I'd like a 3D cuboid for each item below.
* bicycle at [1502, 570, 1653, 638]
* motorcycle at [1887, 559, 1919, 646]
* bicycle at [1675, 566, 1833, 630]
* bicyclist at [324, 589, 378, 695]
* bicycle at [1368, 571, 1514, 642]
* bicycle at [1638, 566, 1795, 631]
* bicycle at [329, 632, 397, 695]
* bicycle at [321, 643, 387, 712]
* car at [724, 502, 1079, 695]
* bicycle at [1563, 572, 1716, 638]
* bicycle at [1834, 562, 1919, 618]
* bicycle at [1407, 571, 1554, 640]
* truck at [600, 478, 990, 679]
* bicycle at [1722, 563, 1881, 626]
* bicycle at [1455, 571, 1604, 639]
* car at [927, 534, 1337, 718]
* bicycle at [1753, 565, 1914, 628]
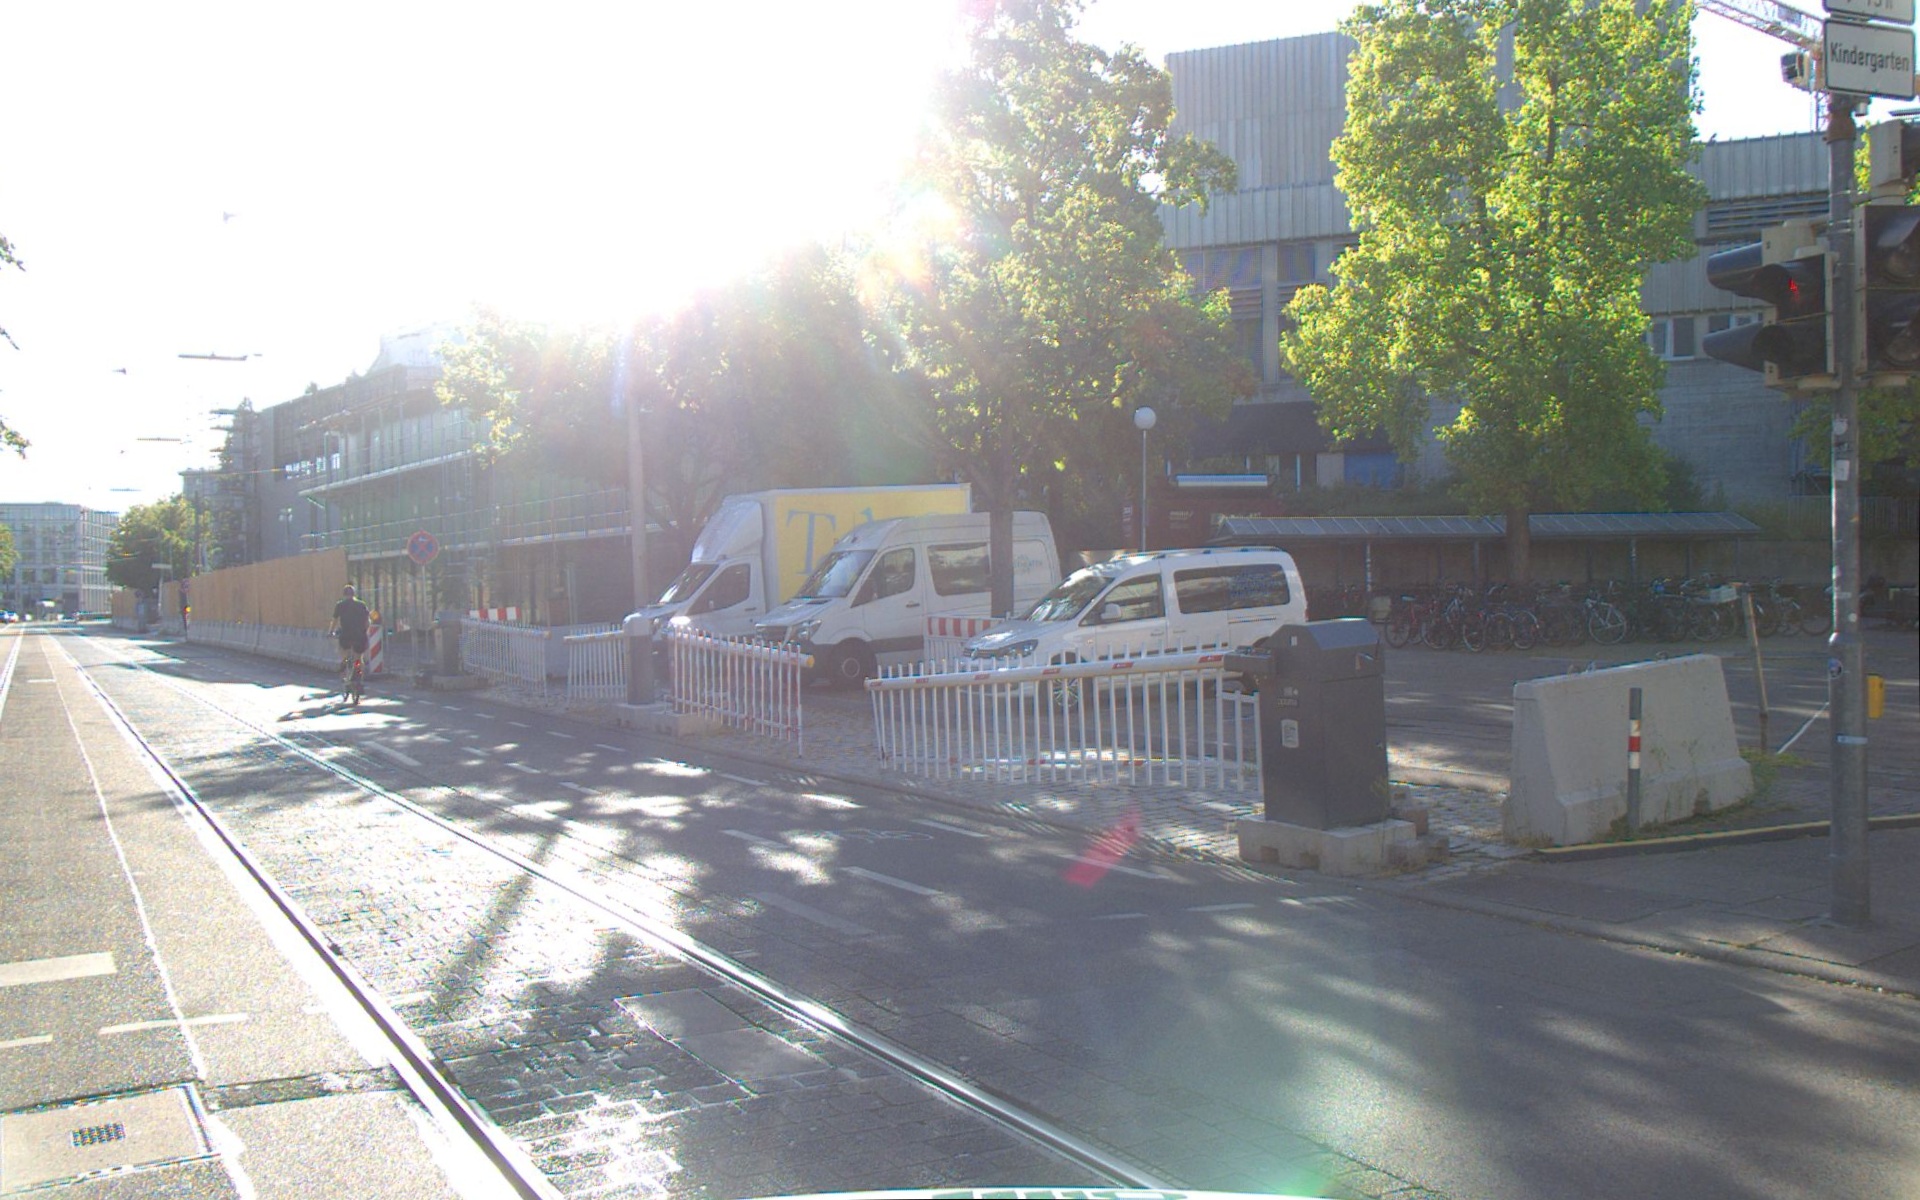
[{"bbox_3d":[11.409,0.075,30.722,0.807,1.167,3.070,-2,1,-20],"label":"bicycle"},{"bbox_3d":[14.999,0.009,24.462,2.160,1.279,0.543,-2,1,23],"label":"motorcycle"},{"bbox_3d":[15.483,-0.041,32.379,0.807,1.167,3.070,-2,1,-20],"label":"bicycle"},{"bbox_3d":[-10.007,0.682,27.162,0.673,1.687,0.804,-1,0,-31],"label":"bicyclist"},{"bbox_3d":[8.505,0.112,29.467,0.807,1.167,3.070,-2,1,-20],"label":"bicycle"},{"bbox_3d":[14.590,-0.030,32.027,0.807,1.167,3.070,-2,1,-20],"label":"bicycle"},{"bbox_3d":[-11.520,1.201,31.868,0.883,1.112,2.407,0,0,-29],"label":"bicycle"},{"bbox_3d":[-9.935,1.243,27.075,0.673,1.036,1.902,-2,0,-30],"label":"bicycle"},{"bbox_3d":[-0.862,-0.098,26.493,5.316,2.574,1.977,-6,2,-33],"label":"car"},{"bbox_3d":[12.820,0.091,31.347,0.807,1.167,3.070,-2,1,-20],"label":"bicycle"},{"bbox_3d":[20.260,-0.217,35.285,0.807,1.167,3.070,-2,1,-20],"label":"bicycle"},{"bbox_3d":[9.363,0.100,29.945,0.807,1.167,3.070,-2,1,-20],"label":"bicycle"},{"bbox_3d":[-3.076,-0.499,31.765,7.023,3.405,2.366,-4,1,-30],"label":"truck"},{"bbox_3d":[16.603,-0.096,32.750,0.807,1.167,3.070,-2,1,-20],"label":"bicycle"},{"bbox_3d":[10.406,0.087,30.386,0.807,1.167,3.070,-2,1,-20],"label":"bicycle"},{"bbox_3d":[2.235,0.254,21.291,4.869,1.925,1.995,-4,2,-25],"label":"car"},{"bbox_3d":[17.439,-0.065,33.142,0.807,1.167,3.070,-2,1,-20],"label":"bicycle"}]
